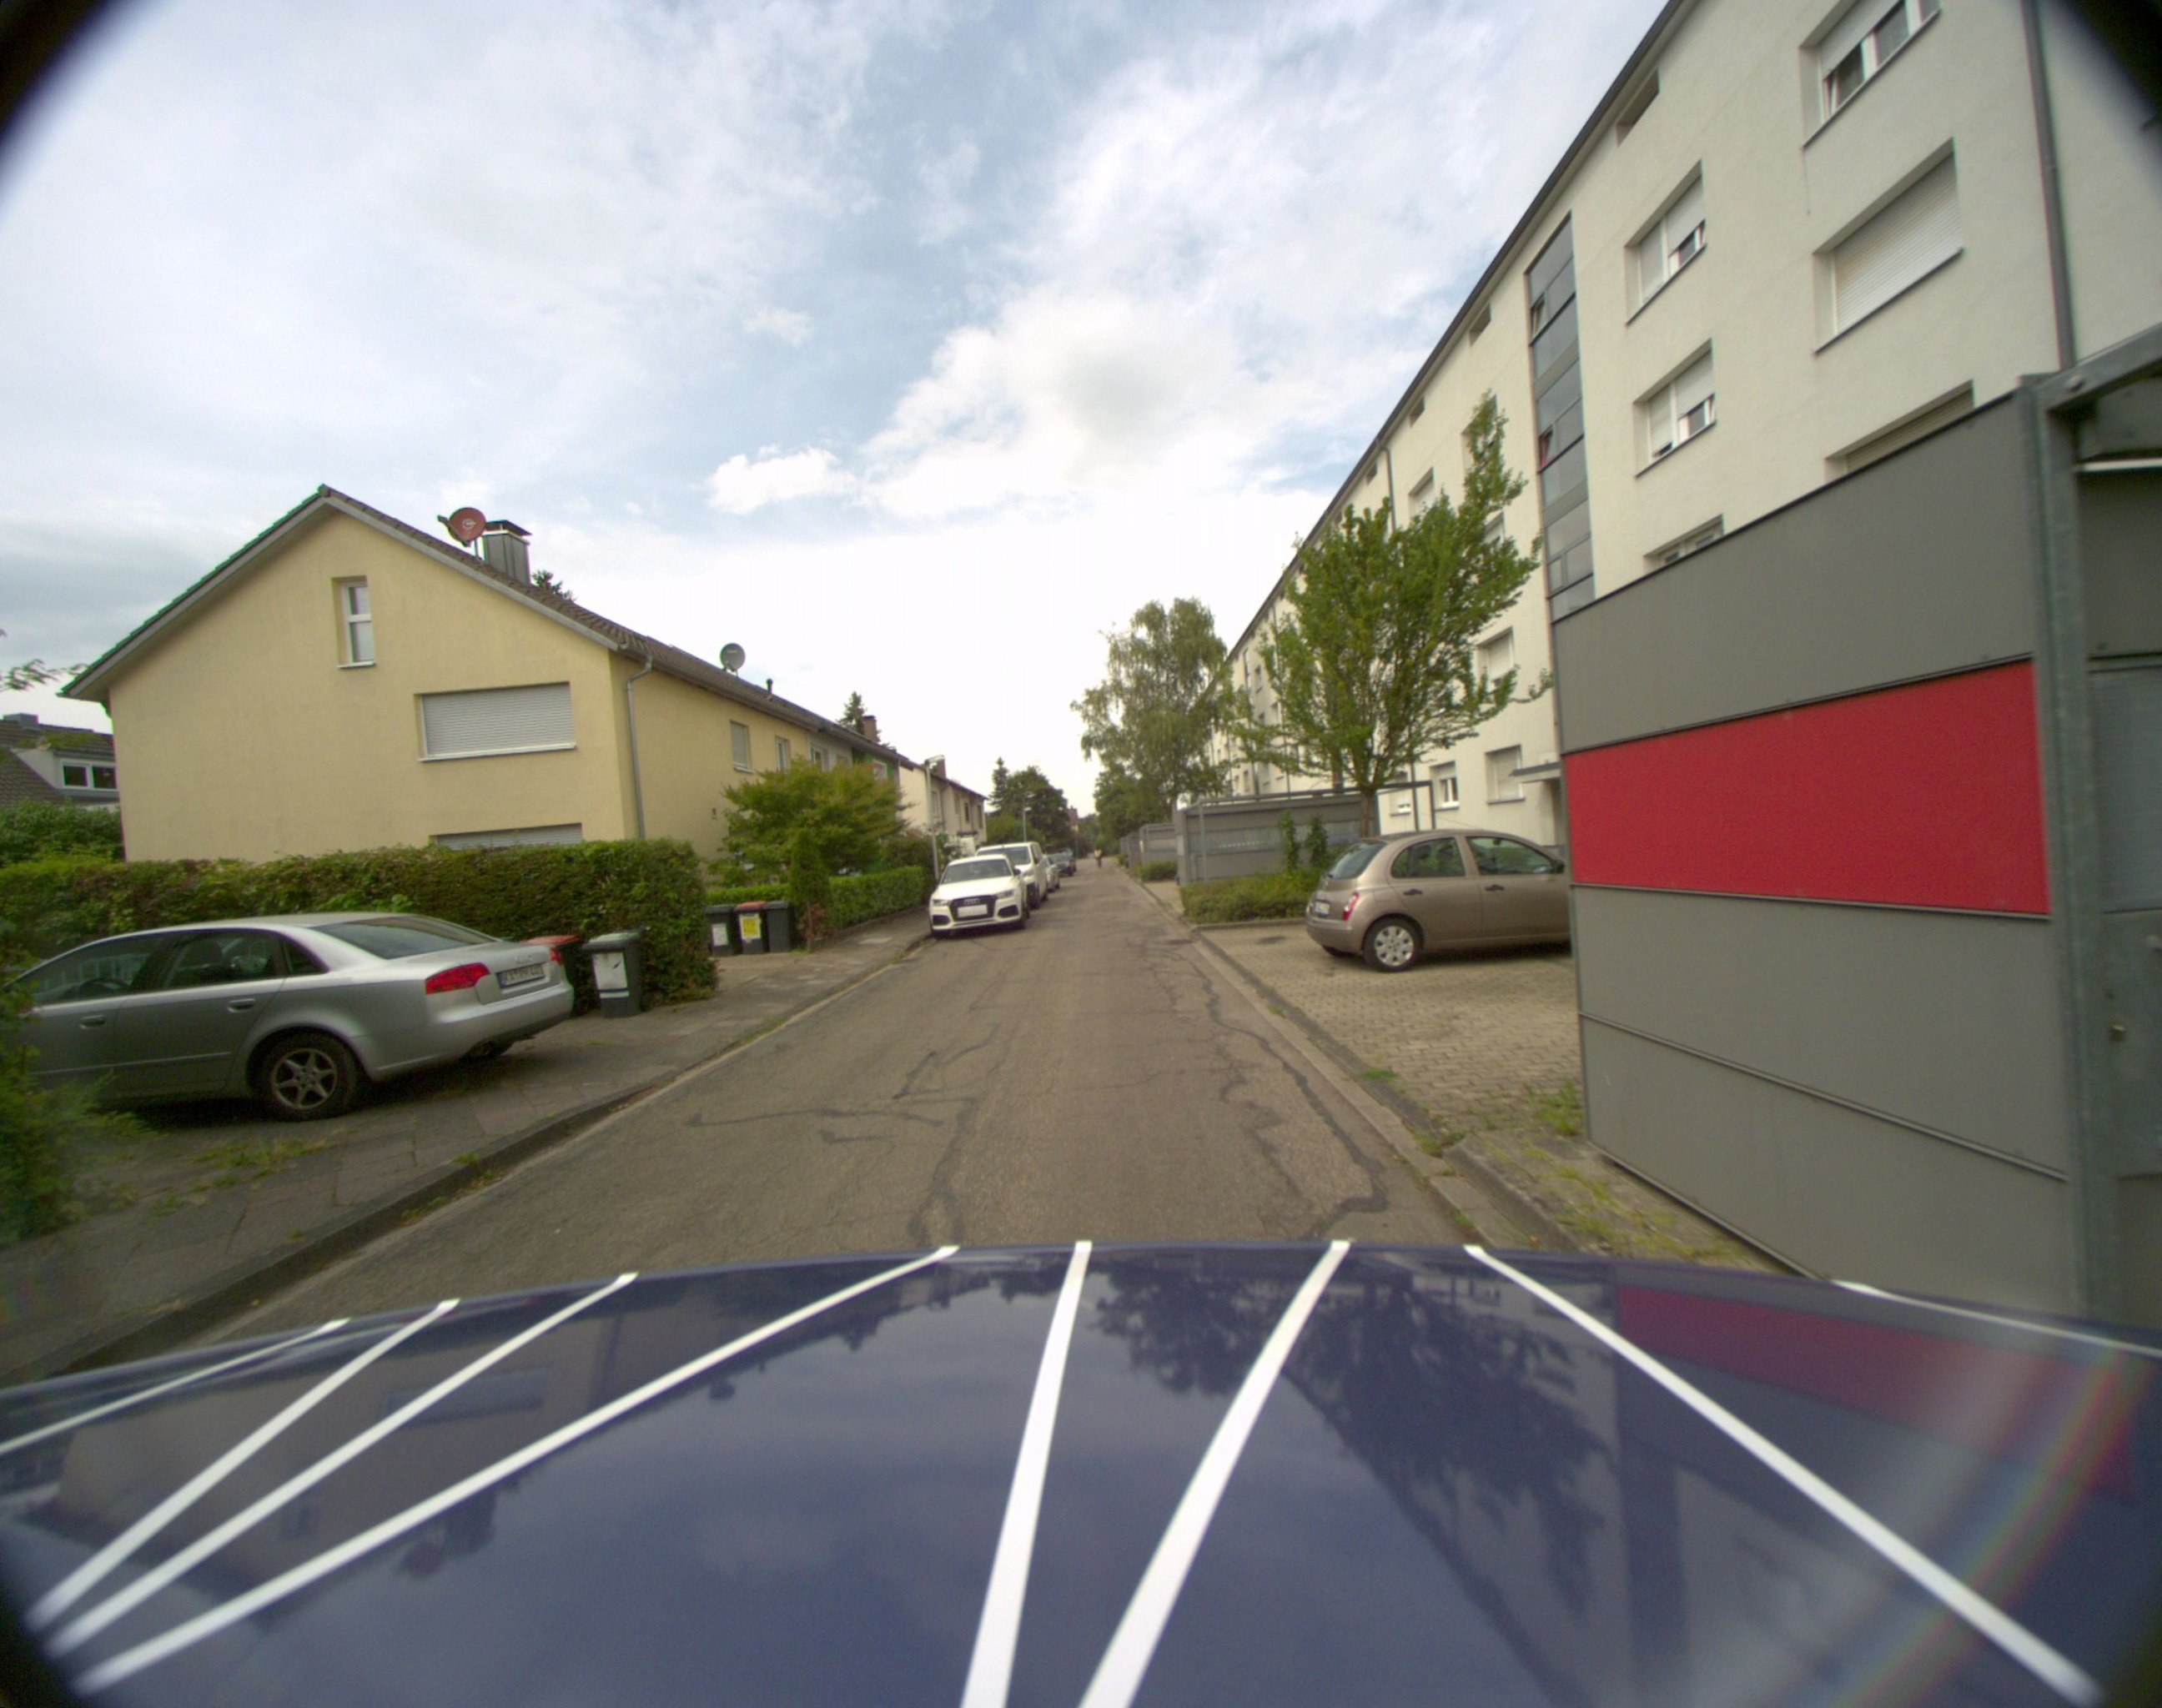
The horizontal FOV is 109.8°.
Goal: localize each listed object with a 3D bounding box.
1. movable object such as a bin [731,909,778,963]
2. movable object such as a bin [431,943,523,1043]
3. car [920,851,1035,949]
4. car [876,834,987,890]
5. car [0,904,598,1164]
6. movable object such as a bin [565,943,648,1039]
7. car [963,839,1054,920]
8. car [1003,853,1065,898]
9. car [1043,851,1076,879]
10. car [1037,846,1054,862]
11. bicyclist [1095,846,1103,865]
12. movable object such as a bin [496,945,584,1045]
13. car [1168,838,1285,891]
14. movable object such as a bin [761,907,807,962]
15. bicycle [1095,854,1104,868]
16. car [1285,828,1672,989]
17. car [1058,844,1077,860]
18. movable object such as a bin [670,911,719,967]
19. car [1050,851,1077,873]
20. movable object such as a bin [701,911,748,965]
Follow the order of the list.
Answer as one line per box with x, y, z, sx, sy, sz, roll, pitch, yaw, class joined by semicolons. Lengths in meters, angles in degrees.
-5.762;1.441;13.432;0.511;0.863;0.529;-4;1;1;movable object such as a bin
-6.565;1.495;8.275;0.511;0.961;0.500;-4;1;1;movable object such as a bin
-2.055;0.856;16.276;1.830;1.626;4.161;-6;1;-1;car
-7.668;0.402;39.425;5.100;2.528;2.238;-3;1;2;car
-6.414;1.268;5.893;4.031;1.419;1.852;-3;1;-4;car
-5.163;1.480;8.292;0.511;0.916;0.500;-4;1;1;movable object such as a bin
-1.986;0.637;22.542;1.908;1.953;5.253;-6;1;1;car
-1.789;0.789;30.263;1.787;1.412;4.455;-6;1;3;car
-1.299;0.624;47.129;1.834;1.449;4.189;-6;1;0;car
-3.905;-0.002;83.977;1.705;1.458;3.998;-4;2;-1;car
1.475;0.127;62.520;0.598;1.572;0.767;-3;1;3;bicyclist
-5.873;1.516;8.269;0.511;0.961;0.500;-4;1;1;movable object such as a bin
4.875;0.337;25.859;3.643;1.453;1.653;-5;1;5;car
-5.236;1.412;13.415;0.511;0.863;0.529;-4;1;1;movable object such as a bin
1.510;0.568;62.630;0.598;1.070;2.042;-3;1;3;bicycle
4.444;0.561;8.864;3.571;1.472;1.710;-3;1;-3;car
-1.469;-0.220;83.285;1.926;1.576;3.999;-6;1;-1;car
-6.834;1.500;13.454;0.511;0.900;0.523;-4;1;1;movable object such as a bin
-1.288;0.558;57.667;1.834;1.449;4.189;-6;1;0;car
-6.294;1.476;13.440;0.511;0.863;0.529;-4;1;1;movable object such as a bin
